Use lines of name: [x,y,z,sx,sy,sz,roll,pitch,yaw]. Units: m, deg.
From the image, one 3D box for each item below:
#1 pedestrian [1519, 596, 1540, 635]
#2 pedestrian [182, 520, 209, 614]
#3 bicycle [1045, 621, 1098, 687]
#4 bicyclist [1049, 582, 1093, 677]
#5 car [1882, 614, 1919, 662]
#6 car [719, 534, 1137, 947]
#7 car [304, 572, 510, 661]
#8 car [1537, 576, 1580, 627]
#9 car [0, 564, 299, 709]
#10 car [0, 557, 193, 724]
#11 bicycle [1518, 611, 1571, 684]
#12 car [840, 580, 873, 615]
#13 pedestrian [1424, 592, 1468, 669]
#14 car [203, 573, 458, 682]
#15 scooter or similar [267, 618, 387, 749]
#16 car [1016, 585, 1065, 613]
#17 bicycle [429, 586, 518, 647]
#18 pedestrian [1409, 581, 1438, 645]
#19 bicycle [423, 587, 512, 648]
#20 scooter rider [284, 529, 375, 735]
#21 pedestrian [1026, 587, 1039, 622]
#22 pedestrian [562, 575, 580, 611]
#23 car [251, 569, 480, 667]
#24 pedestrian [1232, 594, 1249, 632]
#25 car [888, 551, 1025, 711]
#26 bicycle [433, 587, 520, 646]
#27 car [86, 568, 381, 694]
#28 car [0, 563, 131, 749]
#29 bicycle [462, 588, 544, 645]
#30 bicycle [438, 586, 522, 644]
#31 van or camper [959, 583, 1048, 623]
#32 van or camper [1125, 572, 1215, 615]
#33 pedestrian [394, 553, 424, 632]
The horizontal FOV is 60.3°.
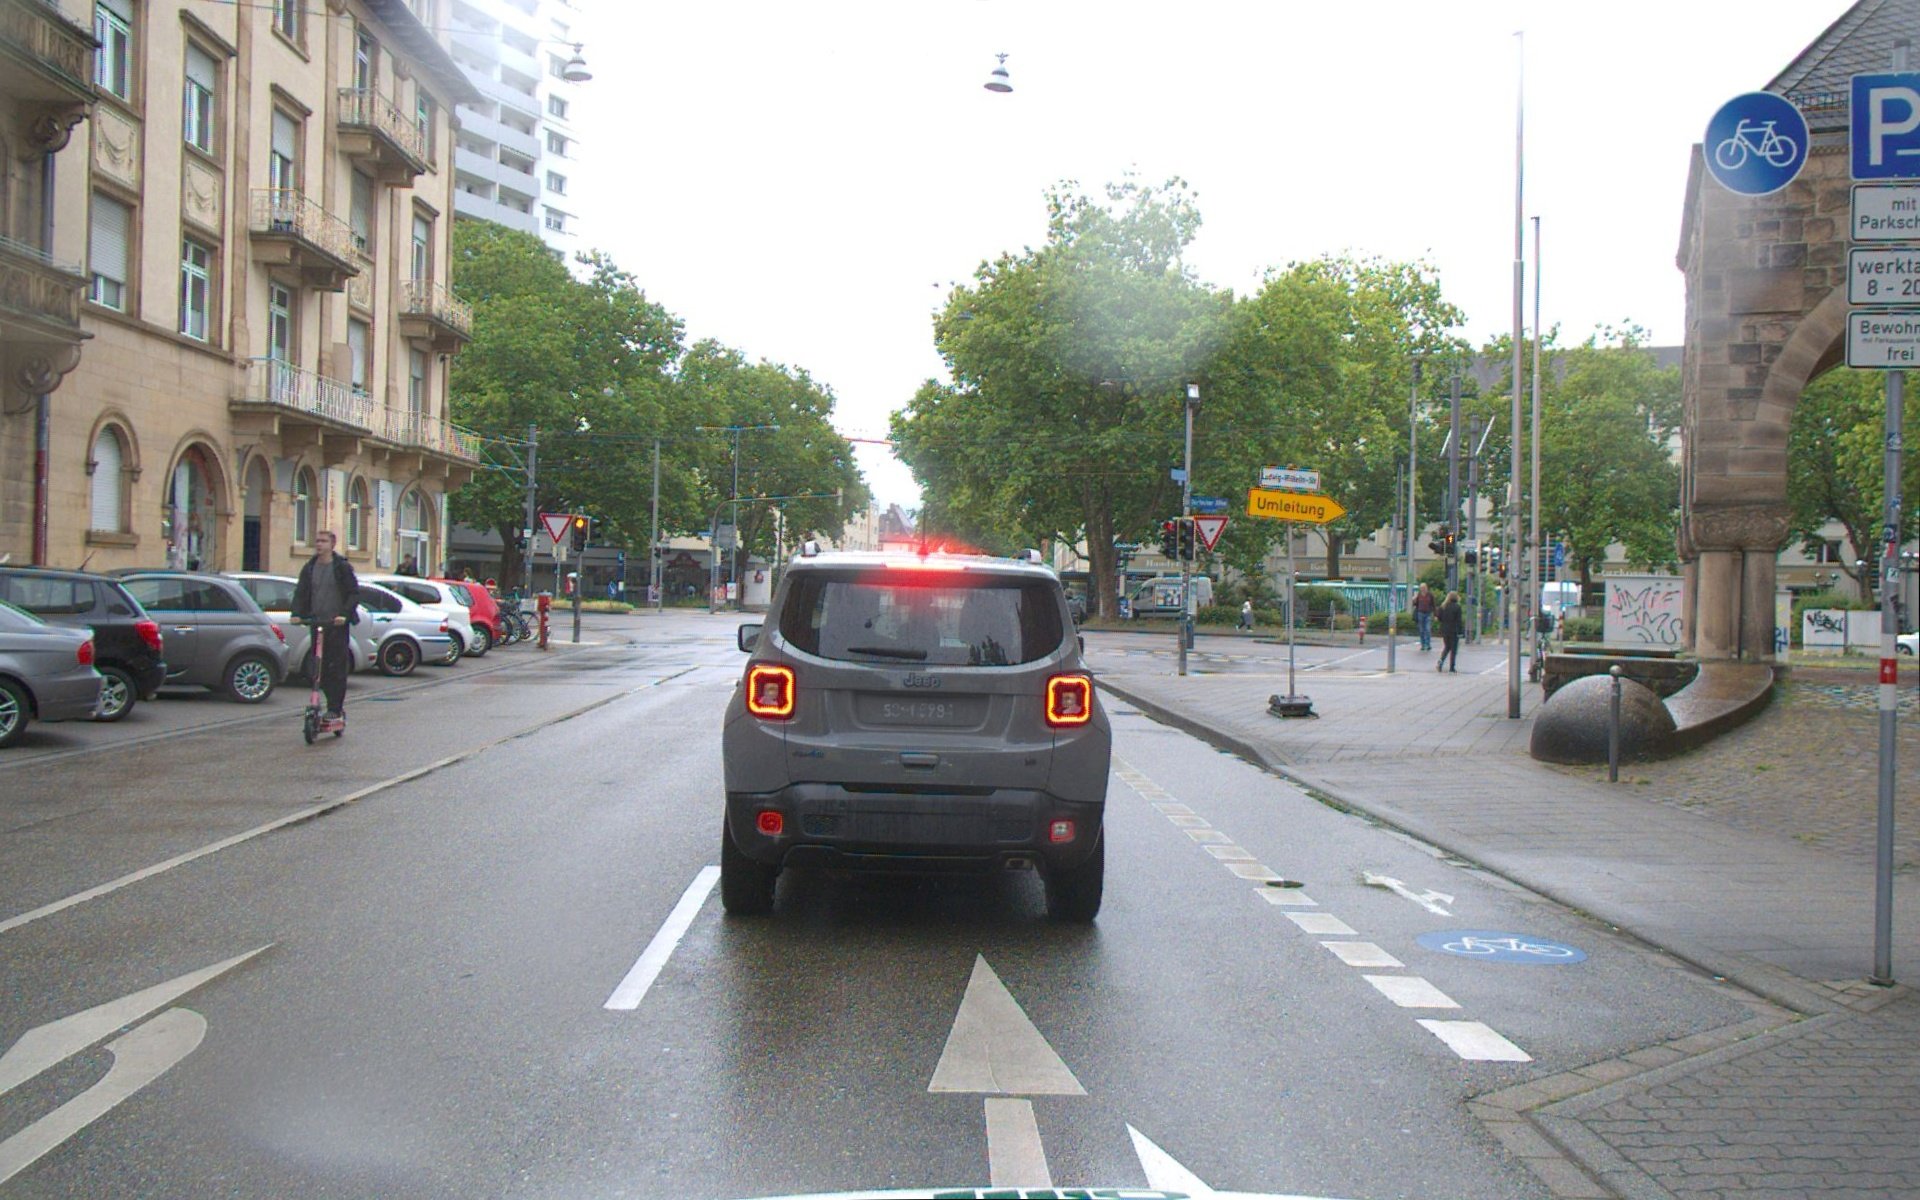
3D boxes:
pedestrian: [23.726,0.647,68.900,0.660,1.581,0.761,1,-1,27]
pedestrian: [-15.140,-0.650,32.754,0.359,1.854,0.347,0,-1,-3]
bicycle: [1.934,0.915,28.961,0.678,1.039,2.657,0,0,-2]
bicyclist: [1.933,0.503,28.938,0.673,1.646,0.883,0,0,-2]
car: [33.551,1.311,56.607,3.368,1.579,1.592,1,0,25]
car: [-0.179,0.571,8.830,1.739,1.716,3.847,0,0,-2]
car: [-10.539,0.308,31.594,3.371,1.585,1.681,1,0,-40]
car: [31.773,0.096,87.688,1.868,2.600,4.785,1,0,23]
car: [-9.865,0.407,19.693,3.371,1.585,1.629,1,0,-40]
car: [-9.846,0.377,16.718,3.520,1.626,1.582,1,0,-40]
bicycle: [10.023,0.788,28.424,0.322,1.174,2.076,1,0,4]
car: [-5.556,-0.137,88.649,1.687,1.769,3.726,1,0,-4]
pedestrian: [10.813,0.664,36.791,0.769,1.674,0.653,0,0,35]
car: [-9.833,0.407,25.930,3.371,1.585,1.681,1,0,-40]
scooter or similar: [-6.138,0.786,16.115,0.687,1.185,1.384,0,0,-3]
car: [5.990,-0.074,123.121,3.363,2.049,1.549,0,0,13]
bicycle: [-10.579,0.358,35.995,1.774,1.288,0.498,1,0,-2]
pedestrian: [13.106,0.359,46.794,0.769,1.790,0.946,0,0,14]
bicycle: [-10.555,0.370,35.448,1.728,1.288,0.522,1,0,-2]
scooter rider: [-6.139,0.305,16.124,0.696,1.969,0.503,0,0,-3]
pedestrian: [4.245,0.271,97.119,0.637,2.049,0.483,1,0,12]
pedestrian: [-20.282,-0.373,86.231,0.677,1.858,0.621,1,0,15]
car: [-10.288,0.307,28.700,3.371,1.585,1.681,1,0,-40]
pedestrian: [12.242,0.554,72.243,0.600,1.631,0.494,1,0,24]
car: [-0.079,0.386,23.413,1.734,2.049,3.999,1,0,-1]
bicycle: [-10.715,0.359,36.677,1.774,1.288,0.498,1,0,-2]
car: [-9.917,0.403,22.656,3.371,1.585,1.681,1,0,-40]
car: [-9.572,0.449,13.747,4.513,1.572,1.661,1,0,-44]
bicycle: [-10.655,0.377,38.585,1.728,1.288,0.608,1,0,-2]
bicycle: [-10.937,0.332,37.704,1.728,1.288,0.608,1,0,-2]
van or camper: [3.356,0.186,128.162,6.399,2.963,2.492,1,0,26]
van or camper: [12.487,-0.385,98.520,5.149,2.356,2.091,2,1,3]
pedestrian: [-14.508,-0.190,43.560,0.556,2.049,0.654,1,0,-1]
